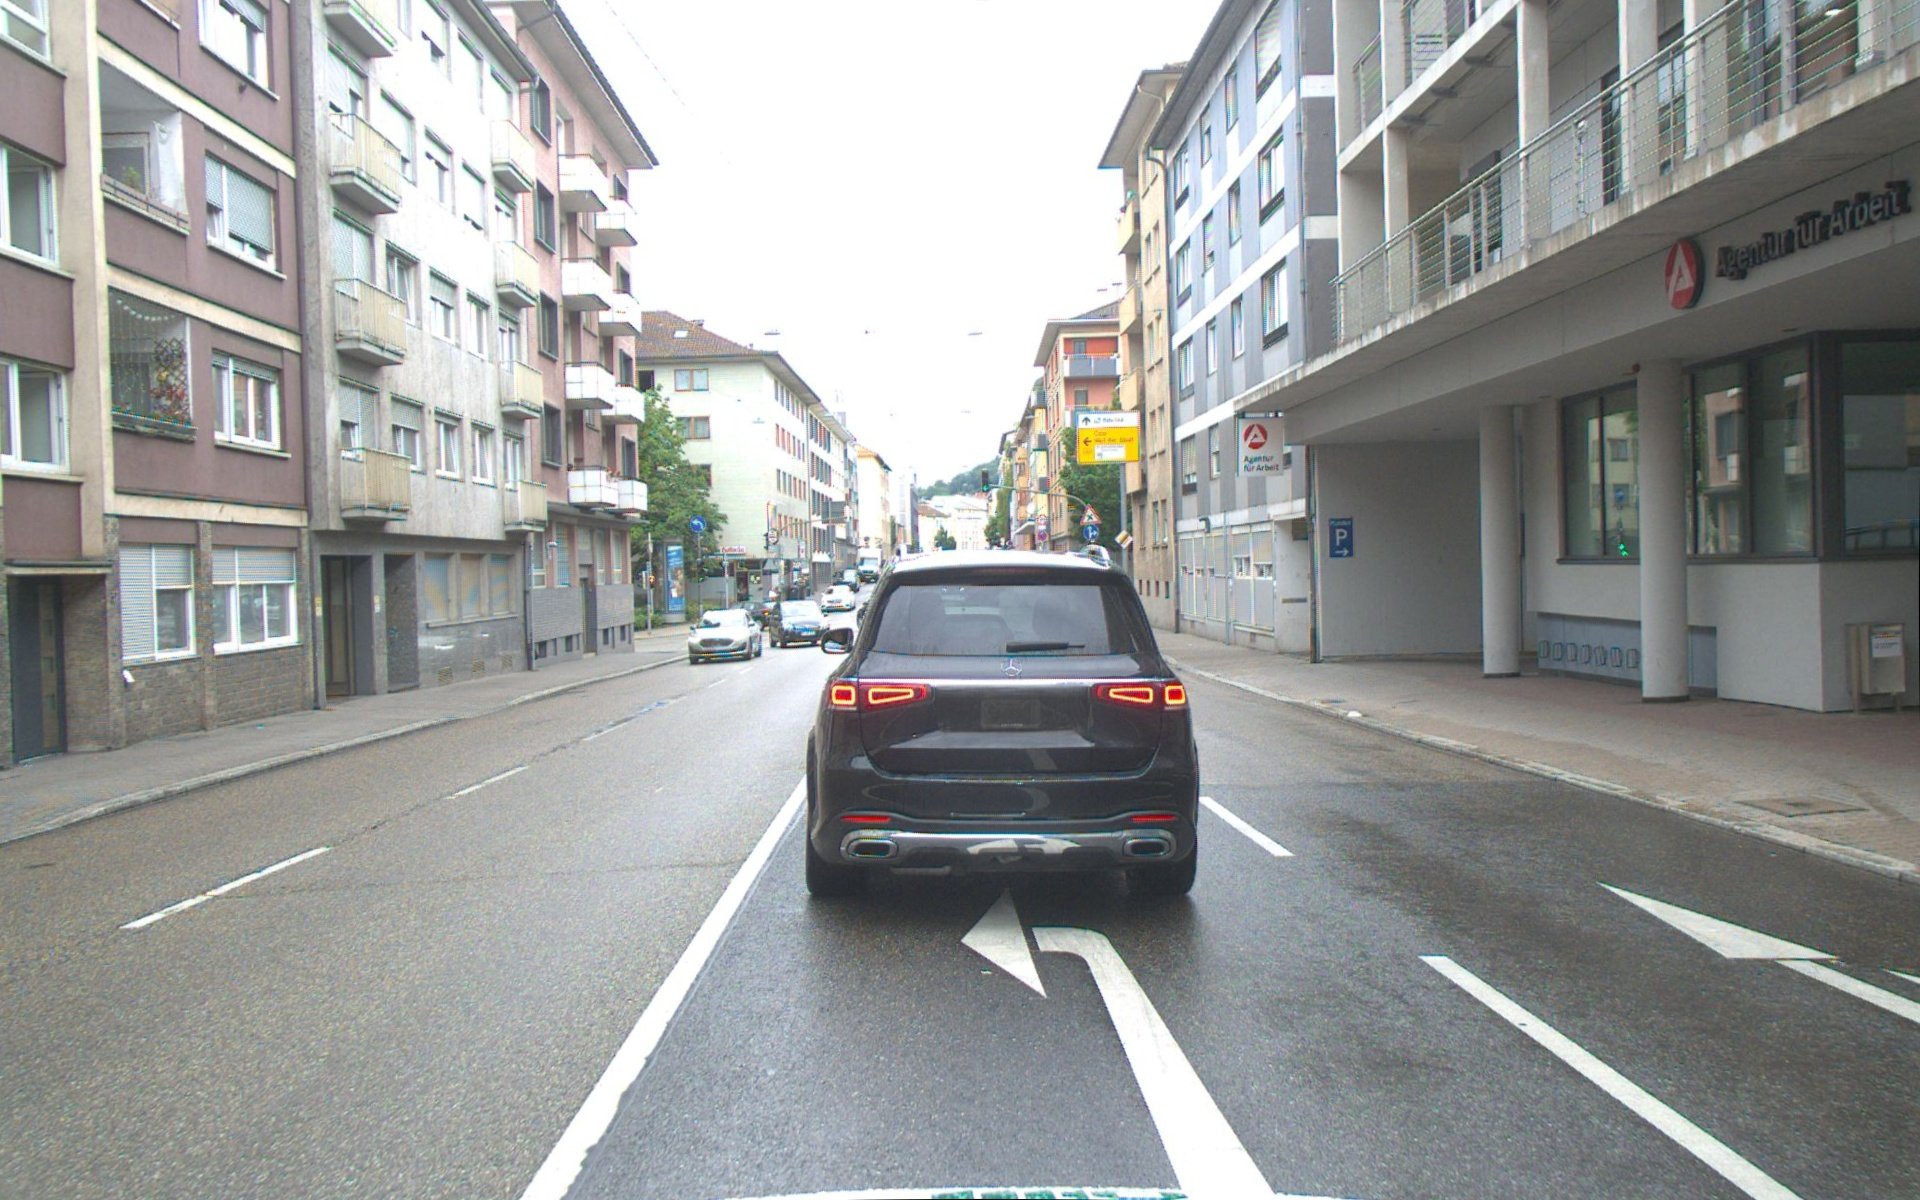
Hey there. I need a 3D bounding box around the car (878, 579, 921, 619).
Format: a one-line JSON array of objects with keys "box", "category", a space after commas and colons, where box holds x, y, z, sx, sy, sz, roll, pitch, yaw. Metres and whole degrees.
[{"box": [-2.599, -0.019, 71.264, 1.737, 1.566, 4.357, -3, 0, -2], "category": "car"}]

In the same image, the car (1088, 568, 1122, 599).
[{"box": [8.066, -0.910, 92.361, 1.636, 1.616, 3.331, -2, 0, 1], "category": "car"}]

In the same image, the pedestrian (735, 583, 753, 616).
[{"box": [-12.979, -0.016, 99.438, 0.905, 1.935, 0.706, -2, 0, -3], "category": "pedestrian"}]

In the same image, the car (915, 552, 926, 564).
[{"box": [-5.931, -6.219, 247.710, 1.586, 1.566, 4.215, -3, 0, -3], "category": "car"}]

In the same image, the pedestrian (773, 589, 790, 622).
[{"box": [-9.940, 0.292, 92.119, 0.622, 1.795, 0.773, -2, 0, 17], "category": "pedestrian"}]

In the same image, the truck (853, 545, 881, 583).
[{"box": [-8.665, -3.306, 154.547, 2.430, 3.099, 9.913, -3, 0, -3], "category": "truck"}]

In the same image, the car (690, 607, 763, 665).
[{"box": [-6.867, 1.040, 48.919, 1.737, 1.566, 4.355, -3, 0, -4], "category": "car"}]

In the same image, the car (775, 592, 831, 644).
[{"box": [-5.723, 0.625, 59.974, 1.739, 1.674, 4.403, -3, 1, -8], "category": "car"}]

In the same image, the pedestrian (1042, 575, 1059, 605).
[{"box": [5.552, -0.606, 101.625, 0.905, 1.836, 0.706, -2, 0, -3], "category": "pedestrian"}]

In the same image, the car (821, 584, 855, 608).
[{"box": [-7.213, -0.236, 98.252, 1.848, 1.286, 4.215, -3, 0, -3], "category": "car"}]

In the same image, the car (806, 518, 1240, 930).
[{"box": [0.257, 0.582, 9.695, 1.944, 1.837, 4.388, 1, -1, -1], "category": "car"}]

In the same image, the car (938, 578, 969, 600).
[{"box": [-0.476, -0.762, 114.035, 1.953, 1.375, 3.999, -3, 0, -2], "category": "car"}]

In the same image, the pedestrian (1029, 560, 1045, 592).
[{"box": [5.067, -1.568, 109.226, 0.905, 2.049, 0.706, -2, 0, -3], "category": "pedestrian"}]

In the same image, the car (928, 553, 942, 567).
[{"box": [-3.175, -4.982, 207.929, 1.586, 1.566, 4.215, -3, 0, -3], "category": "car"}]

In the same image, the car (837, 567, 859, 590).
[{"box": [-8.701, -1.649, 129.121, 1.586, 1.566, 4.215, -3, 0, -3], "category": "car"}]

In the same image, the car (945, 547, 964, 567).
[{"box": [-0.602, -4.484, 173.580, 1.689, 1.790, 4.214, -3, -2, -3], "category": "car"}]
